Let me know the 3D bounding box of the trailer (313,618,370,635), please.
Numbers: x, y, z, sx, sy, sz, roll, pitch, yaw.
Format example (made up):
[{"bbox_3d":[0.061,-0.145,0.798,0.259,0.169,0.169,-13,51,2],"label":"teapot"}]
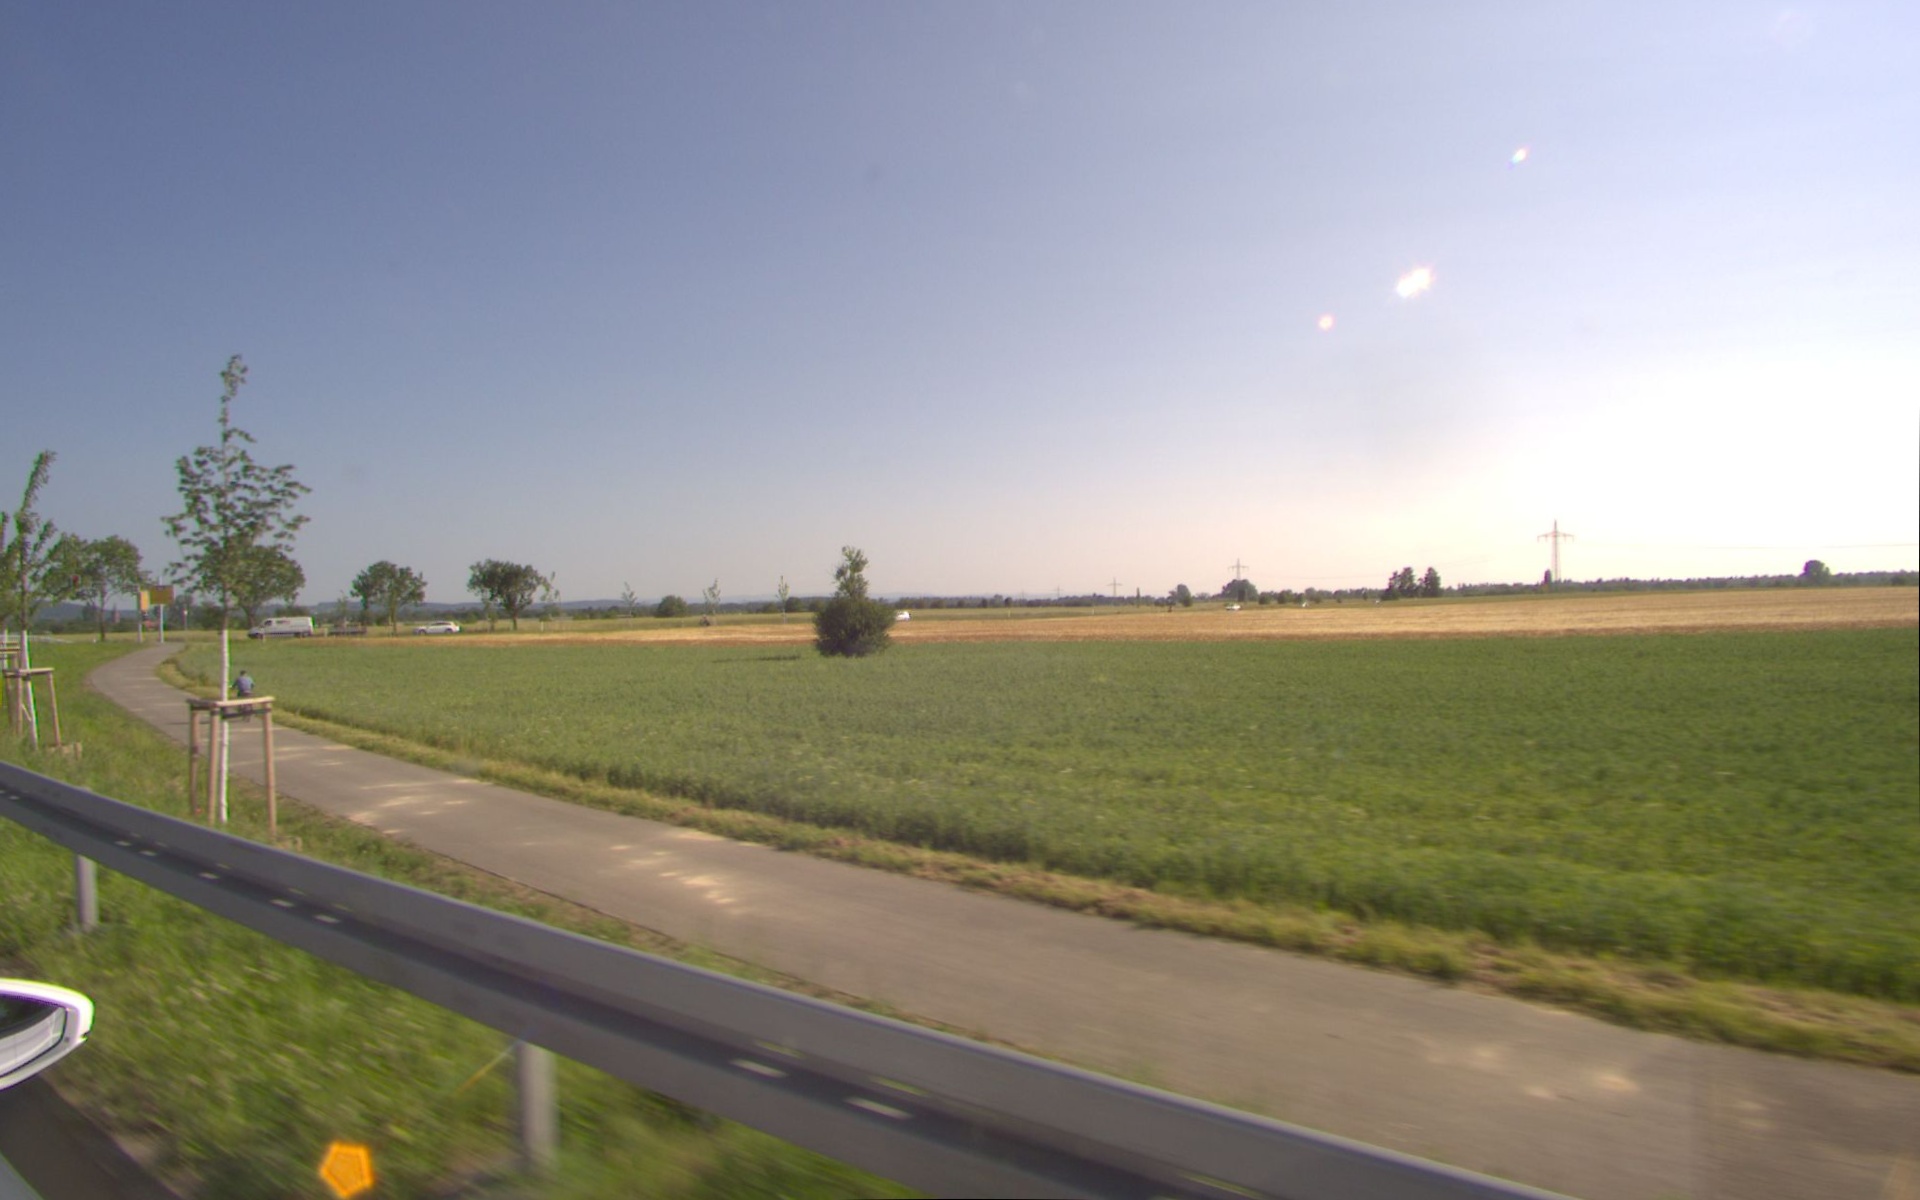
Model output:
[{"bbox_3d":[-68.688,2.947,111.281,5.199,1.775,1.945,-1,-1,-29],"label":"trailer"}]

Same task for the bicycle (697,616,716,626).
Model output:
[{"bbox_3d":[-31.567,2.601,124.802,2.133,1.201,0.885,0,-2,-31],"label":"bicycle"}]

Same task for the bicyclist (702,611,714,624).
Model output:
[{"bbox_3d":[-31.442,2.224,124.906,1.265,1.622,1.159,0,0,-31],"label":"bicyclist"}]

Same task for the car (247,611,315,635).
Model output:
[{"bbox_3d":[-73.578,2.515,108.574,5.889,2.524,1.991,1,-2,-29],"label":"car"}]

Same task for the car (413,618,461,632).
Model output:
[{"bbox_3d":[-60.697,2.955,116.281,4.817,1.529,1.990,1,-3,-32],"label":"car"}]
